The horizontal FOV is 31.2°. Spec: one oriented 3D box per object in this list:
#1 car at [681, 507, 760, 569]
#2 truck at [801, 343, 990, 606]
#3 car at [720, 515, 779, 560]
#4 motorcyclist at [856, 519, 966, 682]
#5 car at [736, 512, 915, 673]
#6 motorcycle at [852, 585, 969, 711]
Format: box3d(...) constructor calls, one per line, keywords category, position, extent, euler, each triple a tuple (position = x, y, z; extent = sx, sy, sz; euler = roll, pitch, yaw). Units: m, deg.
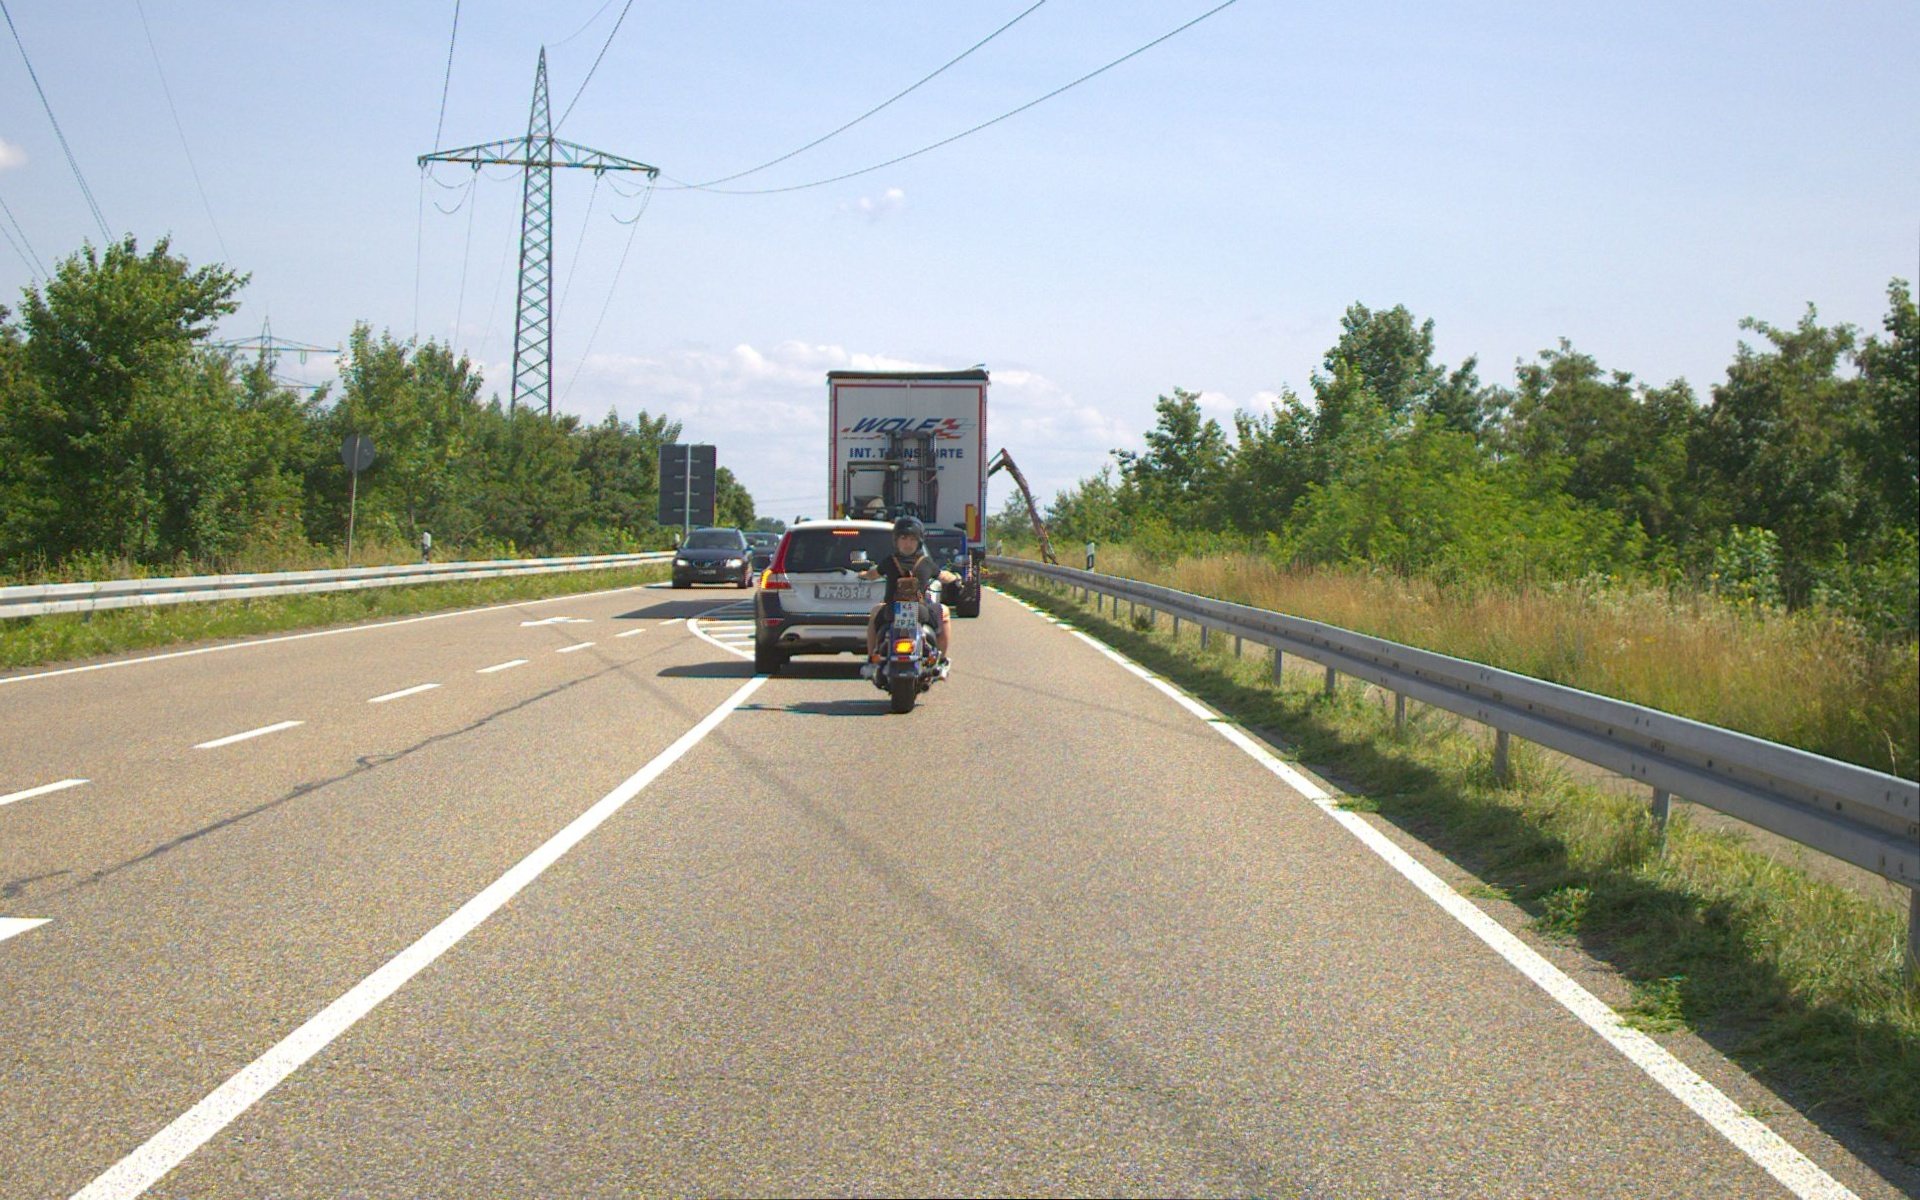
box3d(category="car", position=(-5.958, -1.561, 86.003), extent=(1.727, 1.485, 4.423), euler=(1, 1, -1))
box3d(category="truck", position=(-0.992, -2.188, 62.629), extent=(2.968, 4.172, 14.822), euler=(1, 1, 0))
box3d(category="car", position=(-6.918, -2.077, 113.124), extent=(1.659, 1.437, 4.214), euler=(1, 1, 0))
box3d(category="motorcyclist", position=(-0.404, -0.005, 27.655), extent=(0.837, 1.276, 0.919), euler=(1, 1, -3))
box3d(category="car", position=(-1.348, -0.114, 34.951), extent=(1.701, 1.531, 3.499), euler=(1, 1, -2))
box3d(category="motorcycle", position=(-0.416, 0.365, 27.610), extent=(0.858, 0.912, 2.228), euler=(1, 1, -3))
